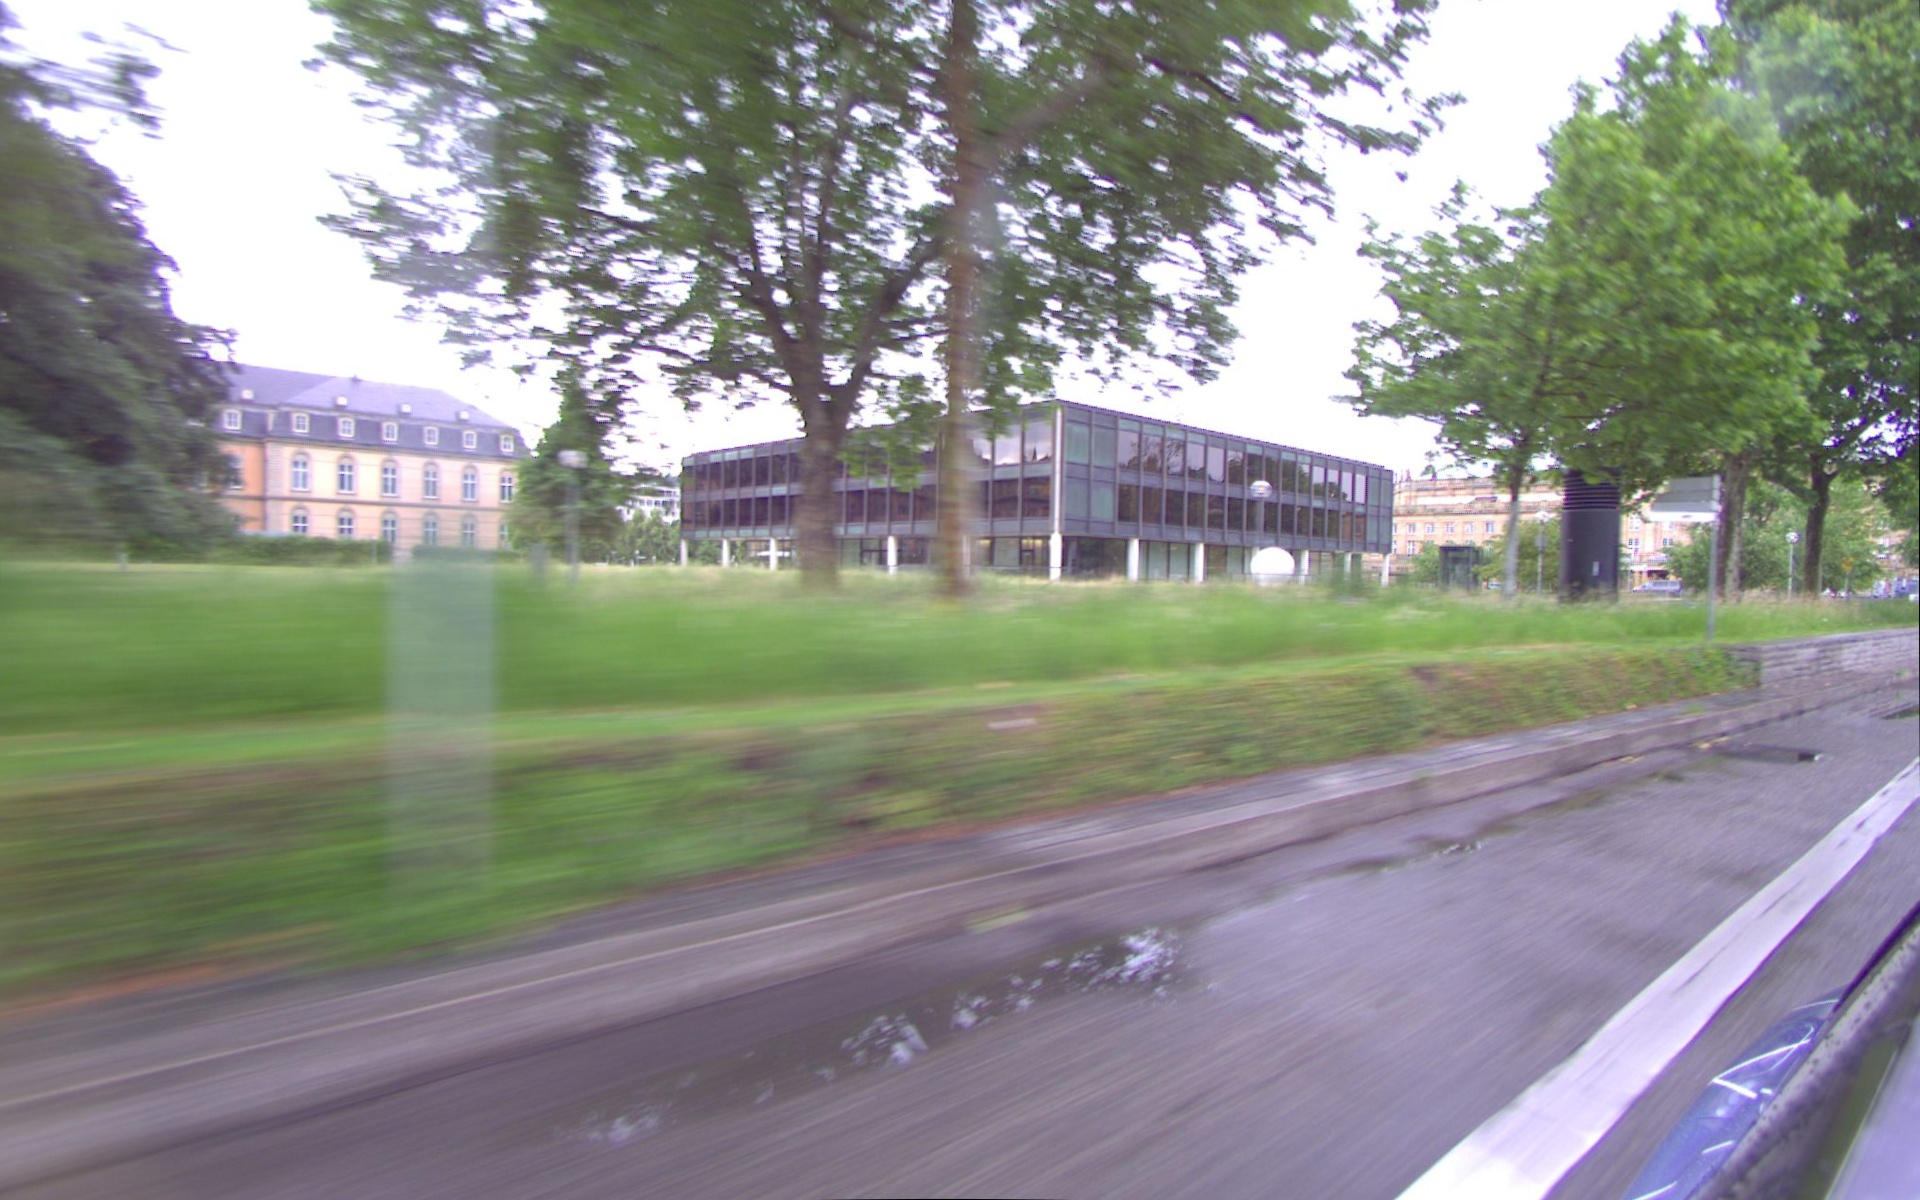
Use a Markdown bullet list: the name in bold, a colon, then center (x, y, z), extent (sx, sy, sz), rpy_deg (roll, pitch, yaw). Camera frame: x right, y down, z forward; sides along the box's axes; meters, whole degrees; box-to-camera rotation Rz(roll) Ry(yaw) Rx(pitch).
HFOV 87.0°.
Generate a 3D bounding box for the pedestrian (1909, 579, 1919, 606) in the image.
- **pedestrian**: center (60.095, -0.451, 63.501), extent (0.666, 1.685, 0.582), rpy_deg (2, 2, 33)

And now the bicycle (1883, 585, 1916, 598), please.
- **bicycle**: center (75.613, -0.685, 81.461), extent (1.741, 1.079, 0.820), rpy_deg (0, 1, 30)
